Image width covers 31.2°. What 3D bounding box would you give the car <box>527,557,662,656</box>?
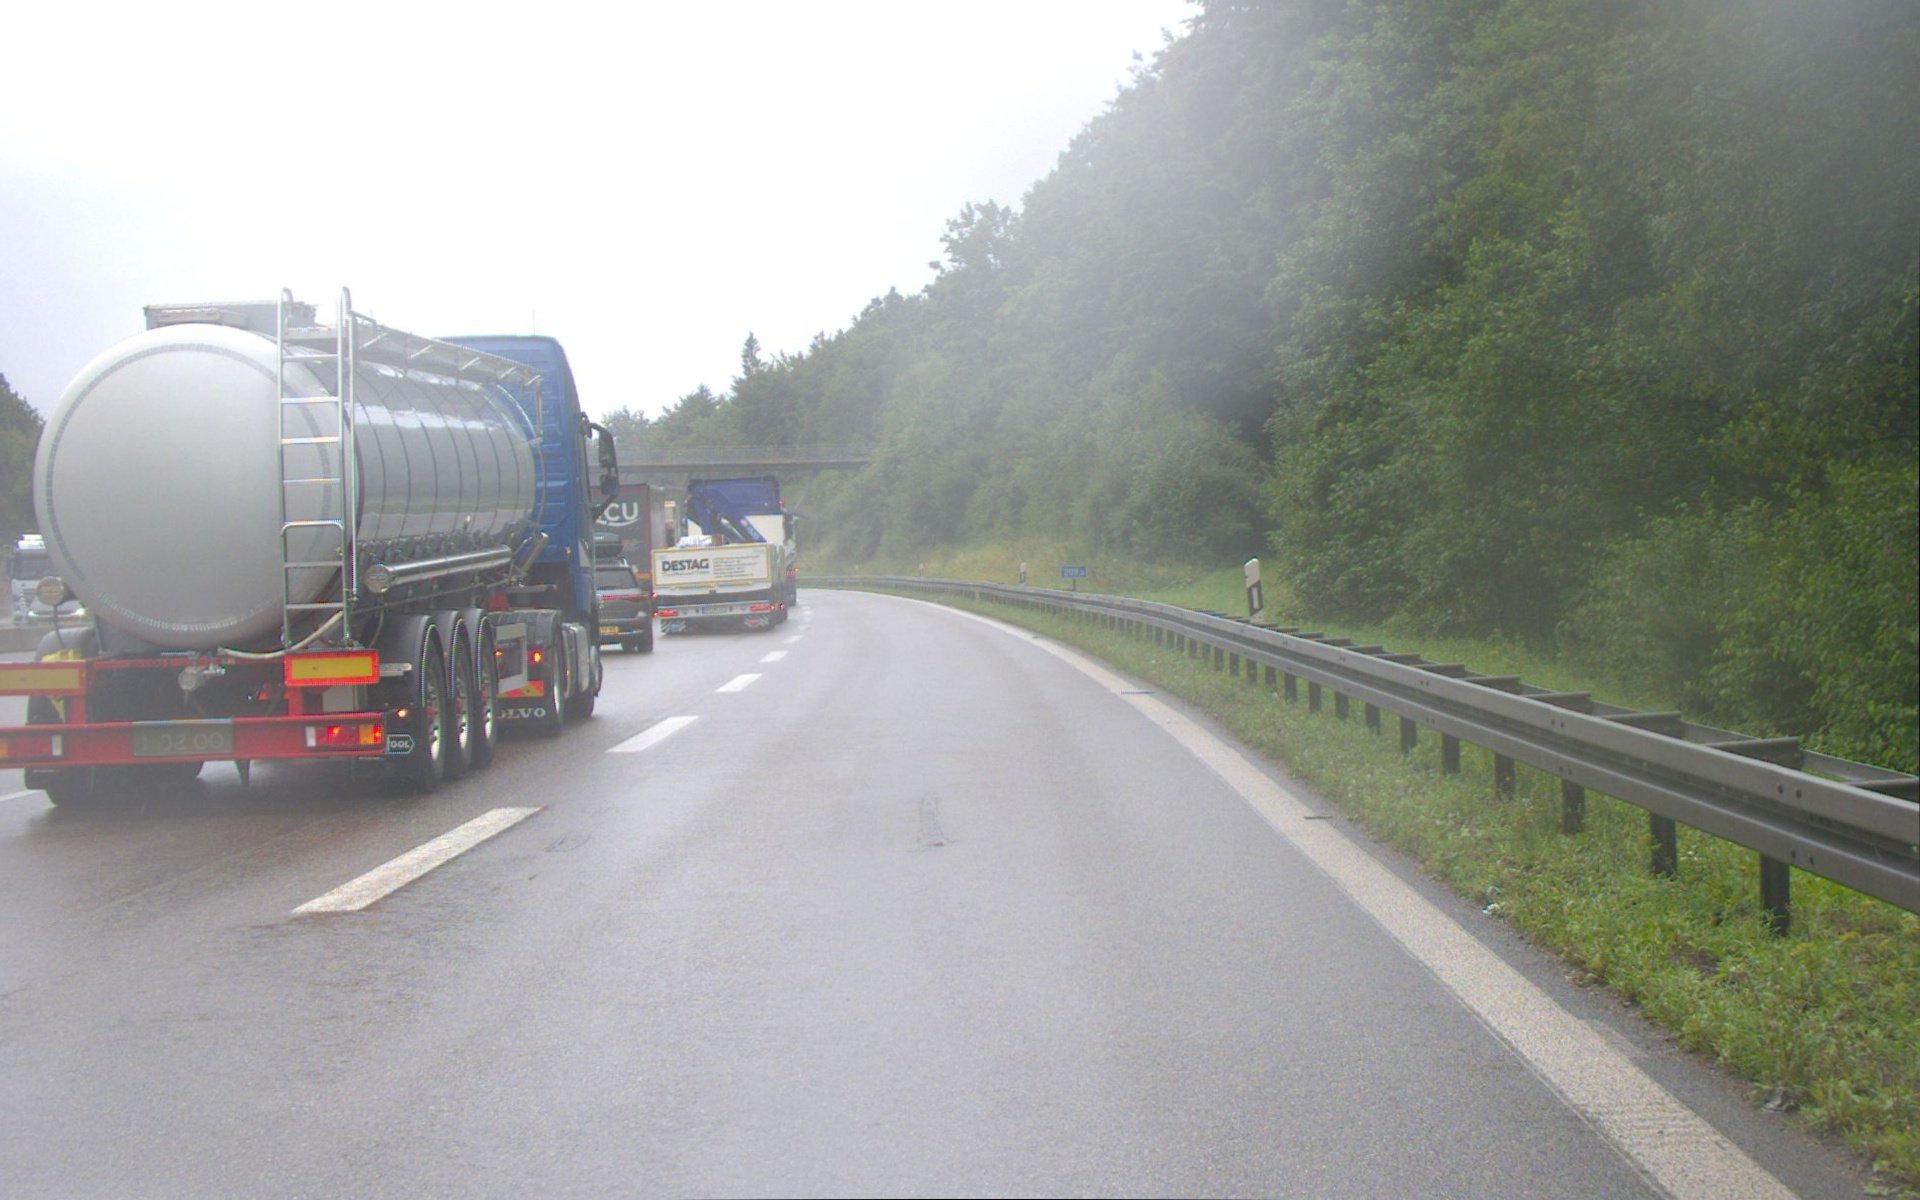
[{"bbox_3d":[-6.416,0.146,60.709,1.993,1.631,4.000,2,-1,-1],"label":"car"}]

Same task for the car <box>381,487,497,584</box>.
[{"bbox_3d":[-10.823,-1.317,71.628,1.797,1.832,4.000,2,-1,0],"label":"car"}]

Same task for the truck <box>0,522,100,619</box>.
[{"bbox_3d":[-38.103,-1.265,143.815,2.450,3.935,7.238,-1,1,0],"label":"truck"}]

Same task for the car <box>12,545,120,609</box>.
[{"bbox_3d":[-28.638,-0.718,110.304,2.051,1.872,5.247,2,-1,0],"label":"car"}]

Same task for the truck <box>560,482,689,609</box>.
[{"bbox_3d":[-11.862,-1.846,122.565,3.576,4.081,10.879,-1,-1,-1],"label":"truck"}]

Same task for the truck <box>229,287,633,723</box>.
[{"bbox_3d":[-4.801,-0.854,32.179,2.877,3.681,5.056,-2,1,0],"label":"truck"}]

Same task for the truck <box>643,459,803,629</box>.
[{"bbox_3d":[-6.458,-1.434,95.319,3.507,4.253,10.602,2,-1,0],"label":"truck"}]

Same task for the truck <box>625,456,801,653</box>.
[{"bbox_3d":[-5.546,-1.048,79.318,3.599,4.091,11.561,-2,1,-2],"label":"truck"}]

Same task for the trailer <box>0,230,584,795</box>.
[{"bbox_3d":[-4.805,-0.581,25.363,2.873,3.277,10.078,-2,1,0],"label":"trailer"}]

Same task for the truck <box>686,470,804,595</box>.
[{"bbox_3d":[-7.550,-2.305,122.301,3.754,3.957,11.059,2,-1,-2],"label":"truck"}]

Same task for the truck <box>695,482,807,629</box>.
[{"bbox_3d":[-8.698,-1.771,144.147,4.336,5.744,9.731,2,-1,-3],"label":"truck"}]

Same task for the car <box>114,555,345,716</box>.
[{"bbox_3d":[-8.484,0.380,40.248,1.819,1.761,4.000,-1,0,0],"label":"car"}]

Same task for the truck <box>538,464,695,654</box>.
[{"bbox_3d":[-10.488,-1.132,106.197,3.754,5.480,10.172,2,-1,0],"label":"truck"}]
